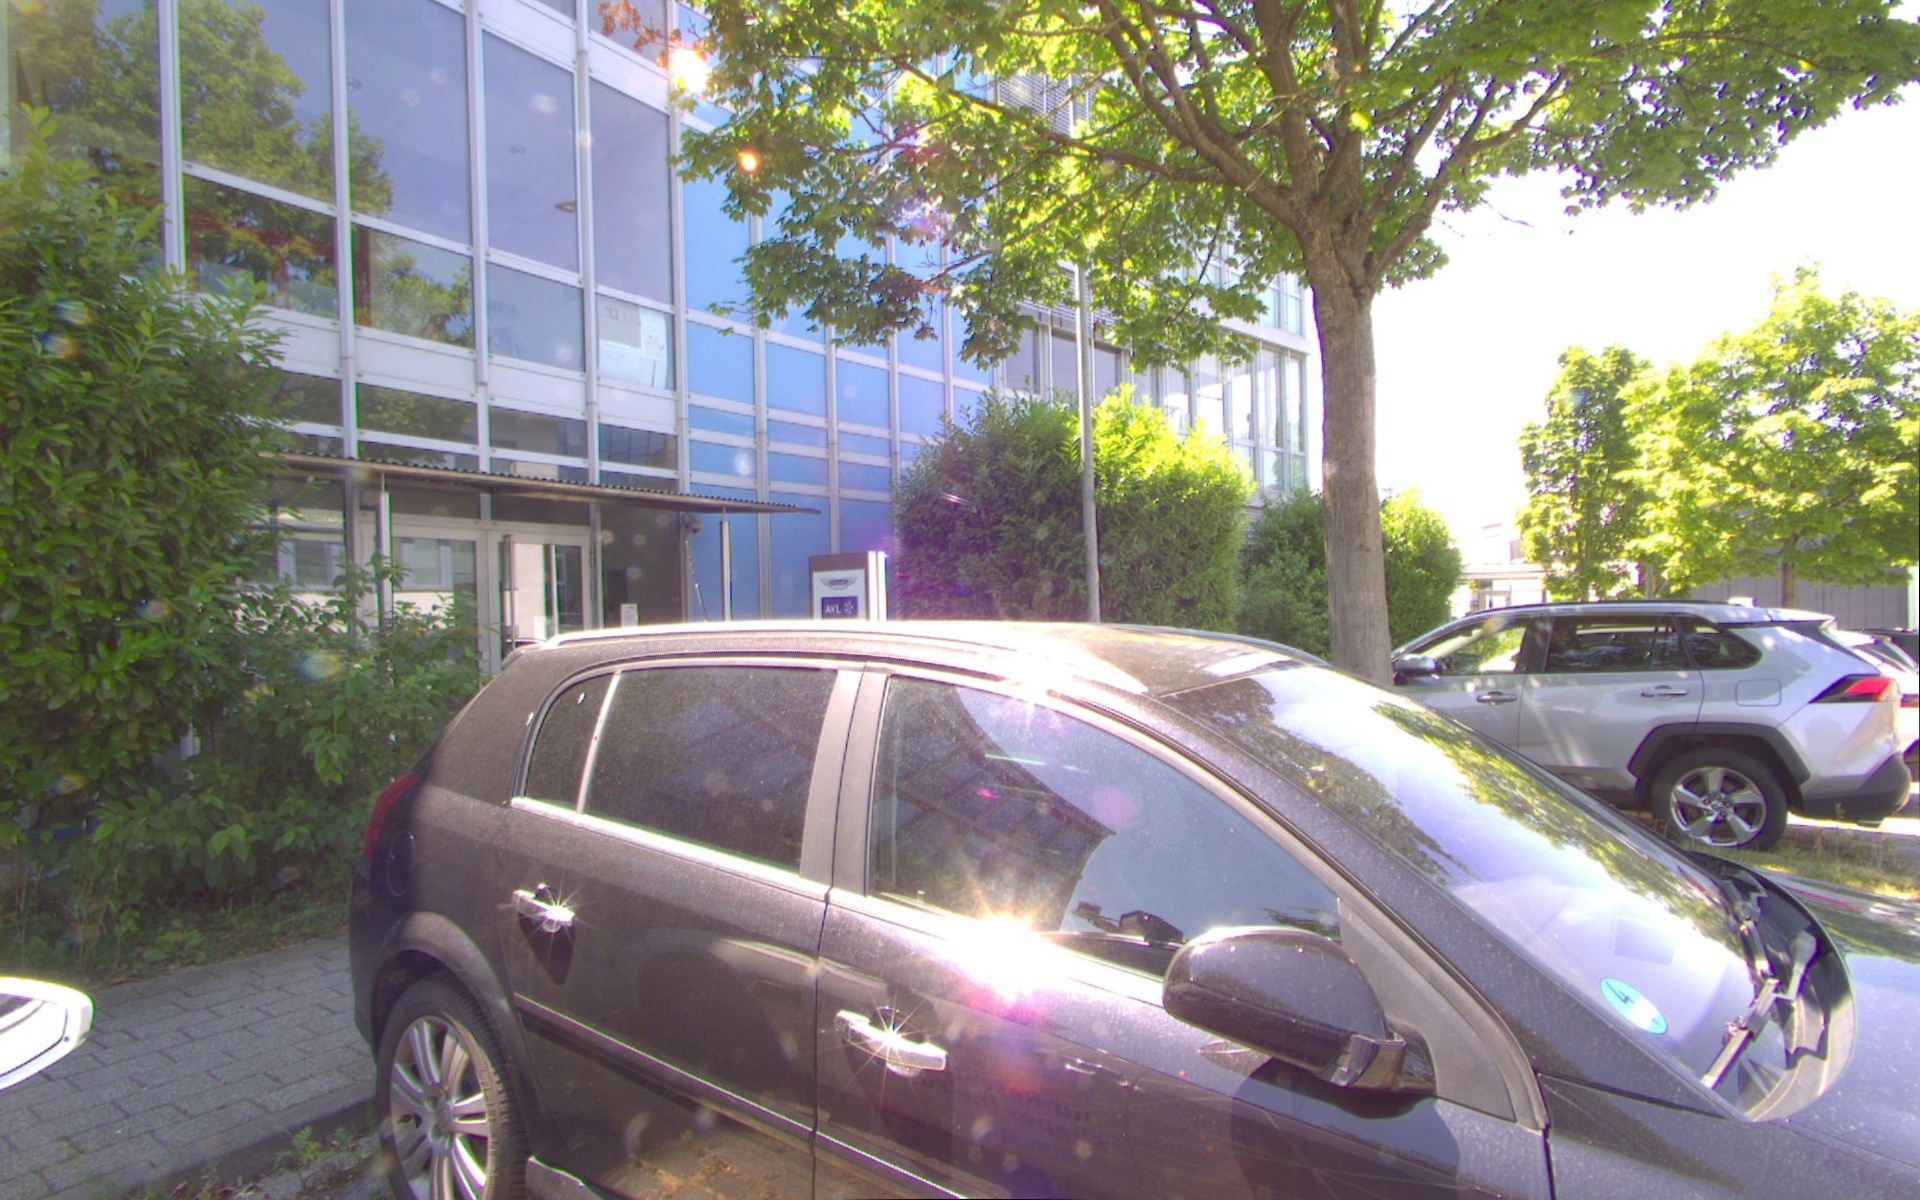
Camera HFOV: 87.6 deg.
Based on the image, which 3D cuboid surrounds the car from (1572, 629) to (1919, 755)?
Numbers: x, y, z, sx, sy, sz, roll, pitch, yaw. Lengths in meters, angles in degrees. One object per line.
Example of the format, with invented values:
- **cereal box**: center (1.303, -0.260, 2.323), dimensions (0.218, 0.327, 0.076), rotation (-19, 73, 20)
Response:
- **car**: center (11.407, 1.213, 14.426), dimensions (1.645, 1.505, 4.136), rotation (2, -1, -44)

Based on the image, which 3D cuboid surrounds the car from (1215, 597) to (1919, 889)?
- **car**: center (4.377, 0.833, 7.765), dimensions (4.278, 1.664, 1.844), rotation (0, -1, 39)

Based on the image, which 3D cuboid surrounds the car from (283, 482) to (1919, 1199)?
- **car**: center (0.457, 0.728, 2.133), dimensions (4.506, 1.569, 1.753), rotation (-1, -2, 36)

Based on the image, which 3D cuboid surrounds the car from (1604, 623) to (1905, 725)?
- **car**: center (14.667, 1.285, 18.699), dimensions (1.641, 1.626, 4.145), rotation (1, -1, -38)

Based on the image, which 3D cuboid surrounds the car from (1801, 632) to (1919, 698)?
- **car**: center (22.261, 1.517, 23.489), dimensions (1.614, 1.462, 3.566), rotation (1, -1, -34)

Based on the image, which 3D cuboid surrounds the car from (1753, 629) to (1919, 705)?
- **car**: center (20.193, 1.455, 22.371), dimensions (1.614, 1.545, 3.566), rotation (1, -1, -34)

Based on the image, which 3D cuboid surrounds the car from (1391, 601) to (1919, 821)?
- **car**: center (6.450, 0.870, 9.378), dimensions (4.150, 1.664, 1.649), rotation (0, -1, 39)
